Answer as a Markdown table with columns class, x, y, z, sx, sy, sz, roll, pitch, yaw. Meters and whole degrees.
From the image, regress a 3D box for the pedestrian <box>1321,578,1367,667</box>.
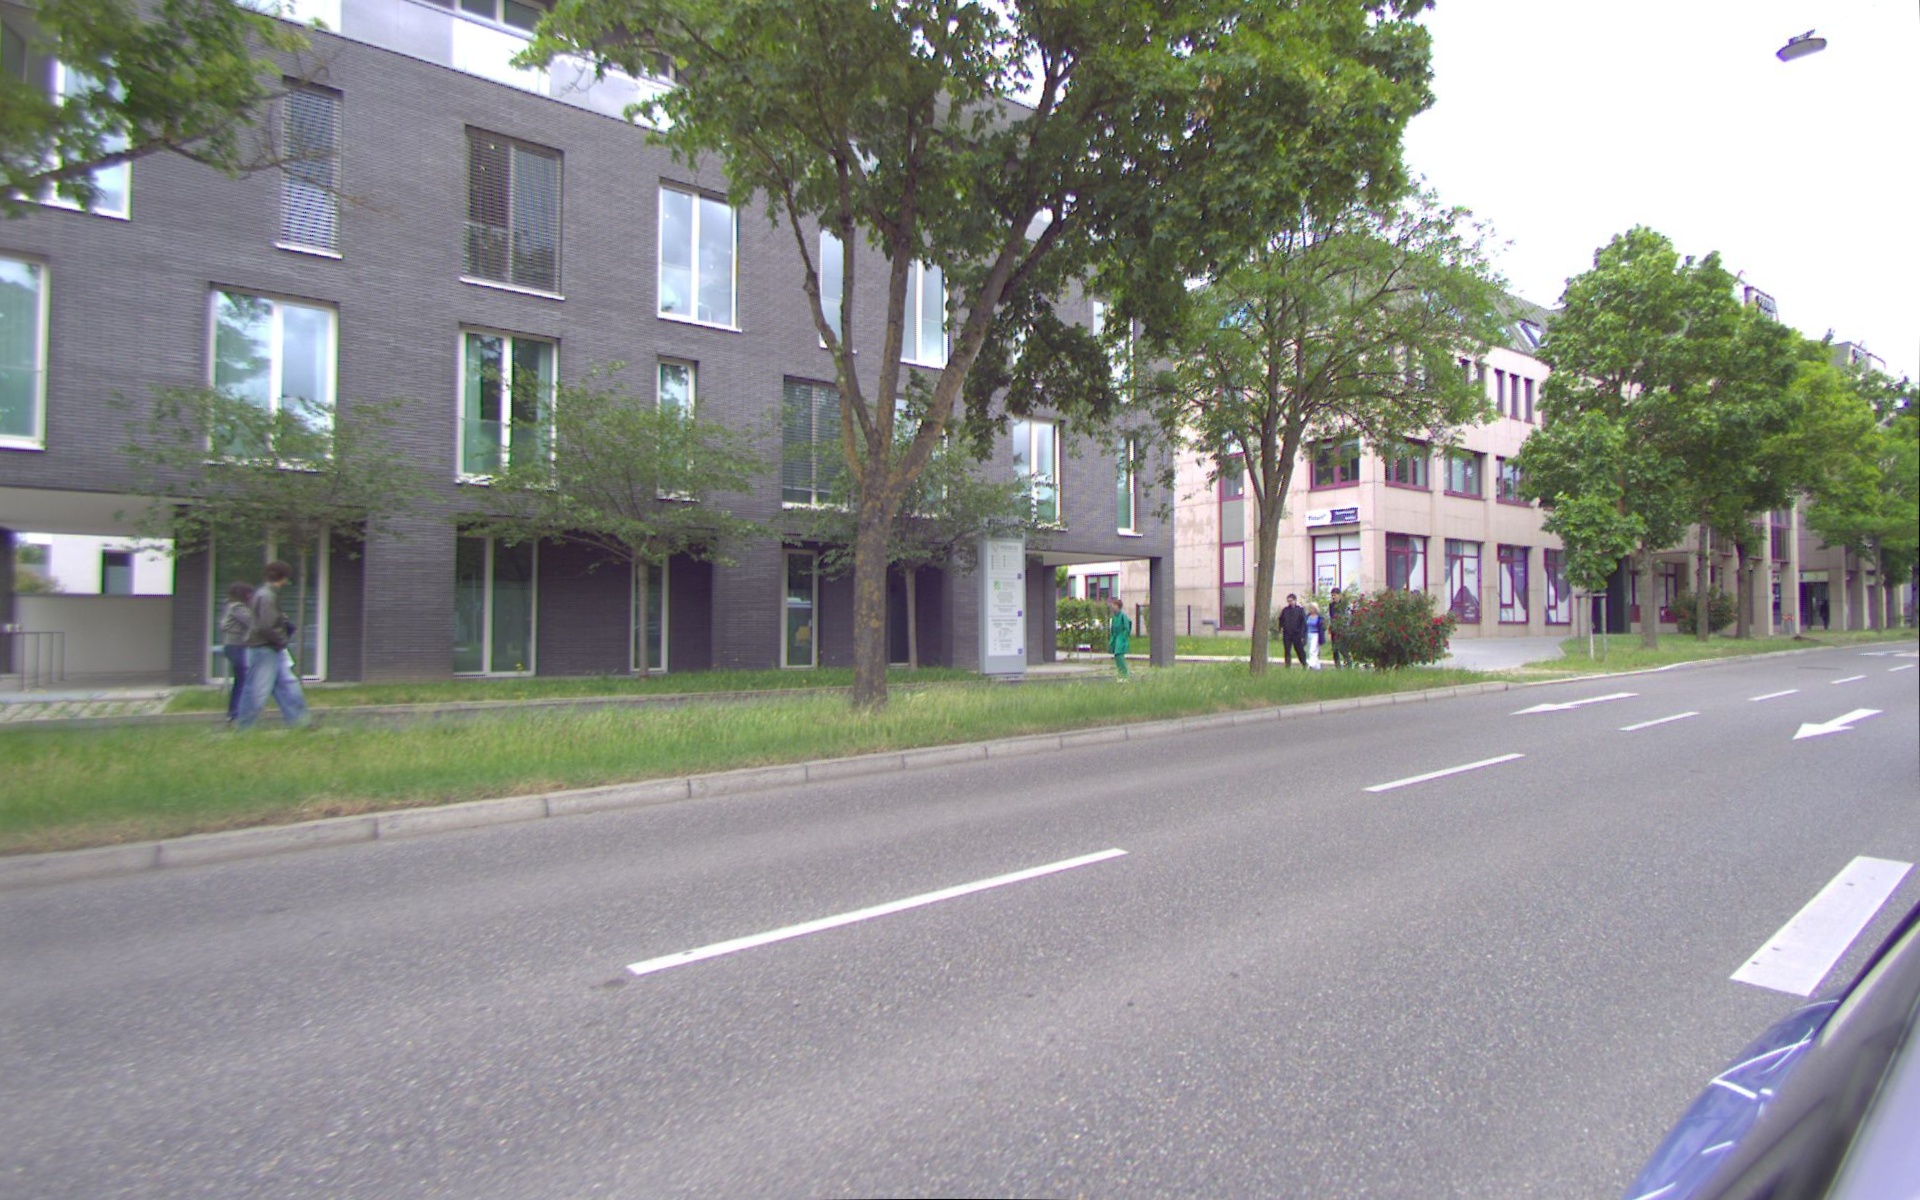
| class | x | y | z | sx | sy | sz | roll | pitch | yaw |
| --- | --- | --- | --- | --- | --- | --- | --- | --- | --- |
| pedestrian | 8.104 | 0.463 | 21.373 | 0.665 | 1.828 | 0.642 | 1 | -1 | -40 |

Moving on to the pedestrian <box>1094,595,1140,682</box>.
| class | x | y | z | sx | sy | sz | roll | pitch | yaw |
| --- | --- | --- | --- | --- | --- | --- | --- | --- | --- |
| pedestrian | 2.888 | 0.690 | 18.603 | 0.665 | 1.537 | 0.496 | 0 | 2 | -40 |

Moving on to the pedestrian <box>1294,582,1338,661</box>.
| class | x | y | z | sx | sy | sz | roll | pitch | yaw |
| --- | --- | --- | --- | --- | --- | --- | --- | --- | --- |
| pedestrian | 7.687 | 0.464 | 21.869 | 0.665 | 1.668 | 0.642 | 1 | -1 | -40 |

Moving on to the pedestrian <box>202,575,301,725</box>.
| class | x | y | z | sx | sy | sz | roll | pitch | yaw |
| --- | --- | --- | --- | --- | --- | --- | --- | --- | --- |
| pedestrian | -7.901 | 0.530 | 11.279 | 0.860 | 1.577 | 0.834 | 0 | -1 | -38 |

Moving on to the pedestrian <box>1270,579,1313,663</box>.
| class | x | y | z | sx | sy | sz | roll | pitch | yaw |
| --- | --- | --- | --- | --- | --- | --- | --- | --- | --- |
| pedestrian | 7.355 | 0.463 | 22.473 | 0.665 | 1.828 | 0.642 | 1 | -1 | -40 |

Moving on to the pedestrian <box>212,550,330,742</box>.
| class | x | y | z | sx | sy | sz | roll | pitch | yaw |
| --- | --- | --- | --- | --- | --- | --- | --- | --- | --- |
| pedestrian | -7.256 | 0.454 | 10.649 | 0.961 | 1.892 | 0.962 | 0 | -1 | -38 |
